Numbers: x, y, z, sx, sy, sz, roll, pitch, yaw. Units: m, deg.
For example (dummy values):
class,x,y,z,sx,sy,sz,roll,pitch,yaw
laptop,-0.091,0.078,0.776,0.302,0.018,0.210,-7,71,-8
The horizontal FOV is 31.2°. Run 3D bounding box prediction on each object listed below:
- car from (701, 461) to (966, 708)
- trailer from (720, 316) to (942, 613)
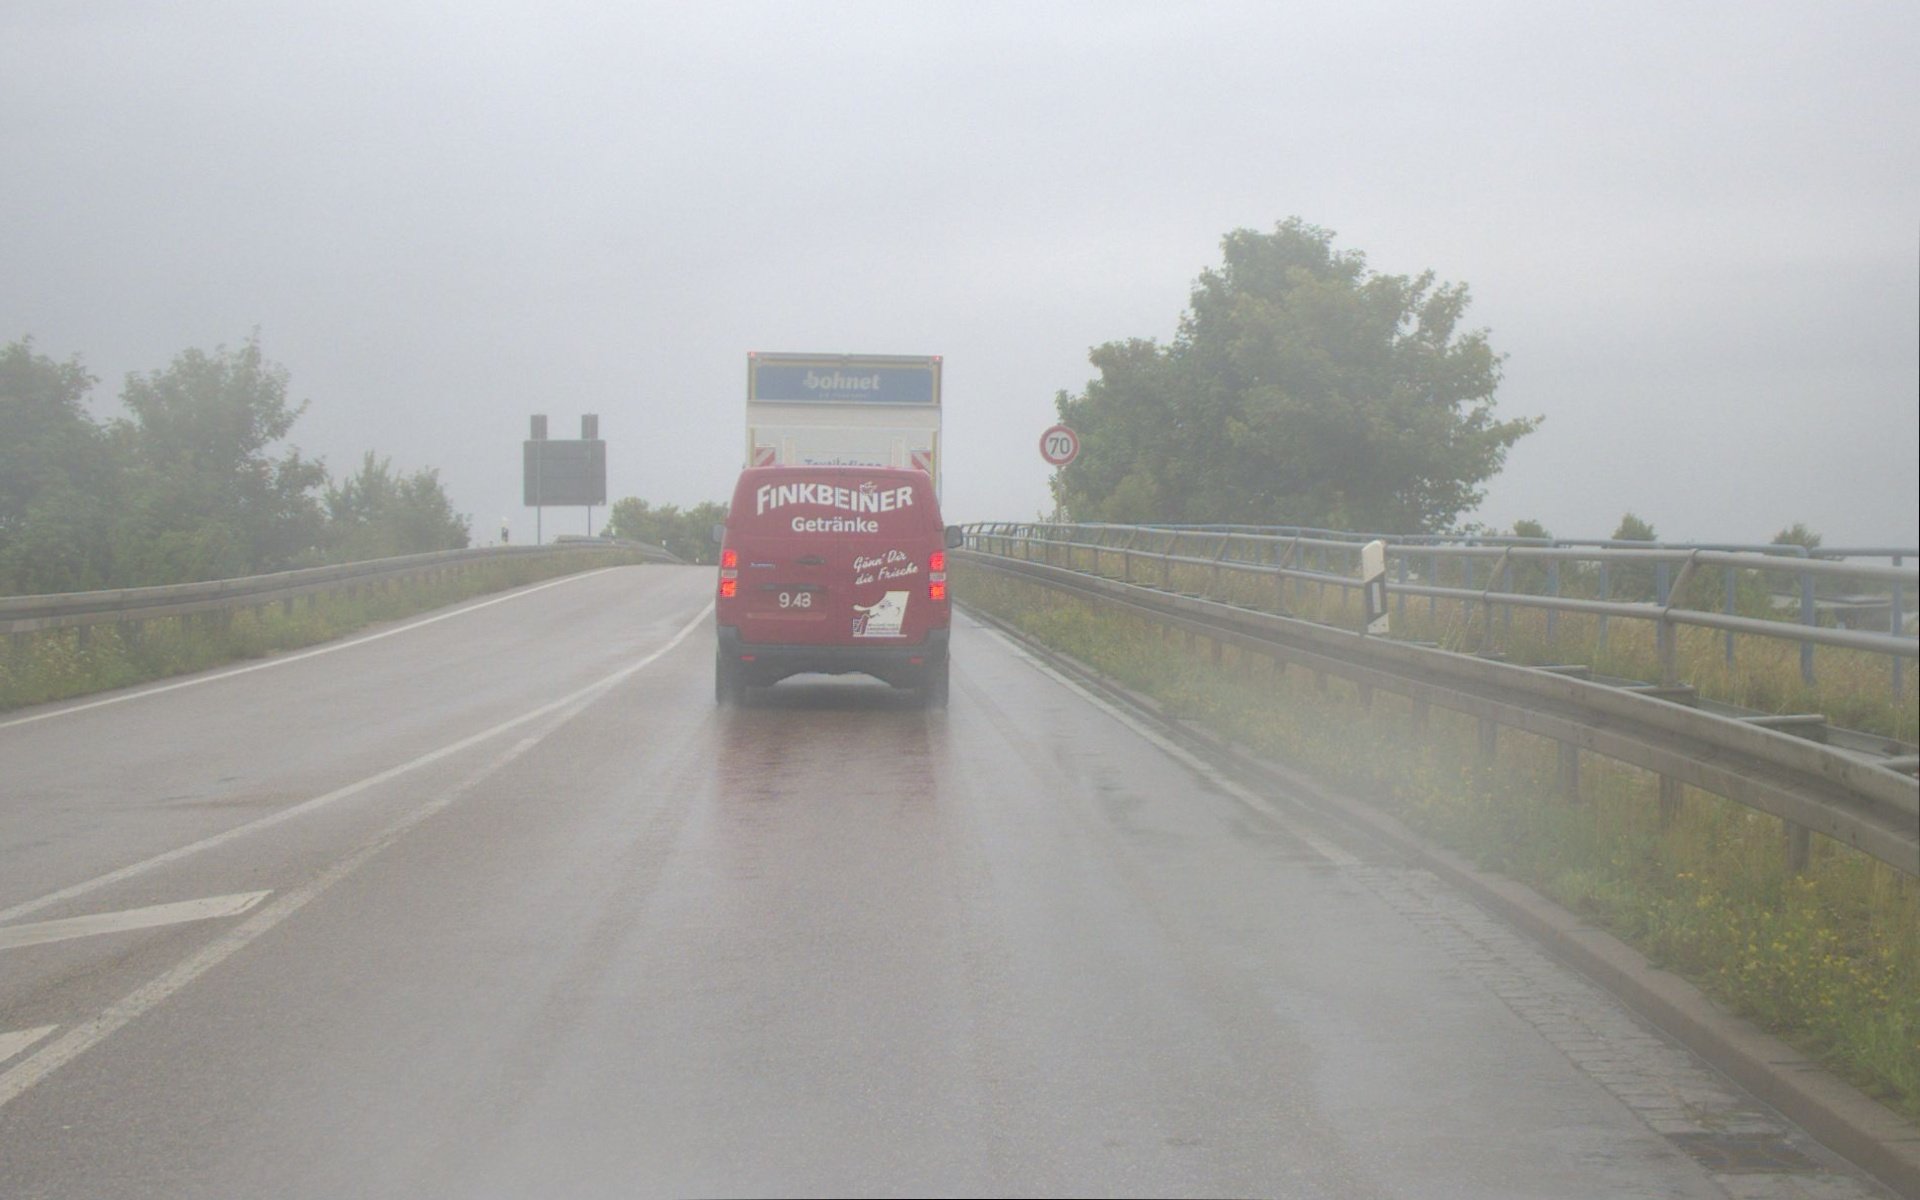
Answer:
class,x,y,z,sx,sy,sz,roll,pitch,yaw
car,-1.022,-0.174,28.761,1.993,1.864,4.979,-1,1,-1
trailer,-1.747,-1.816,49.200,2.832,3.806,9.715,0,1,-1
